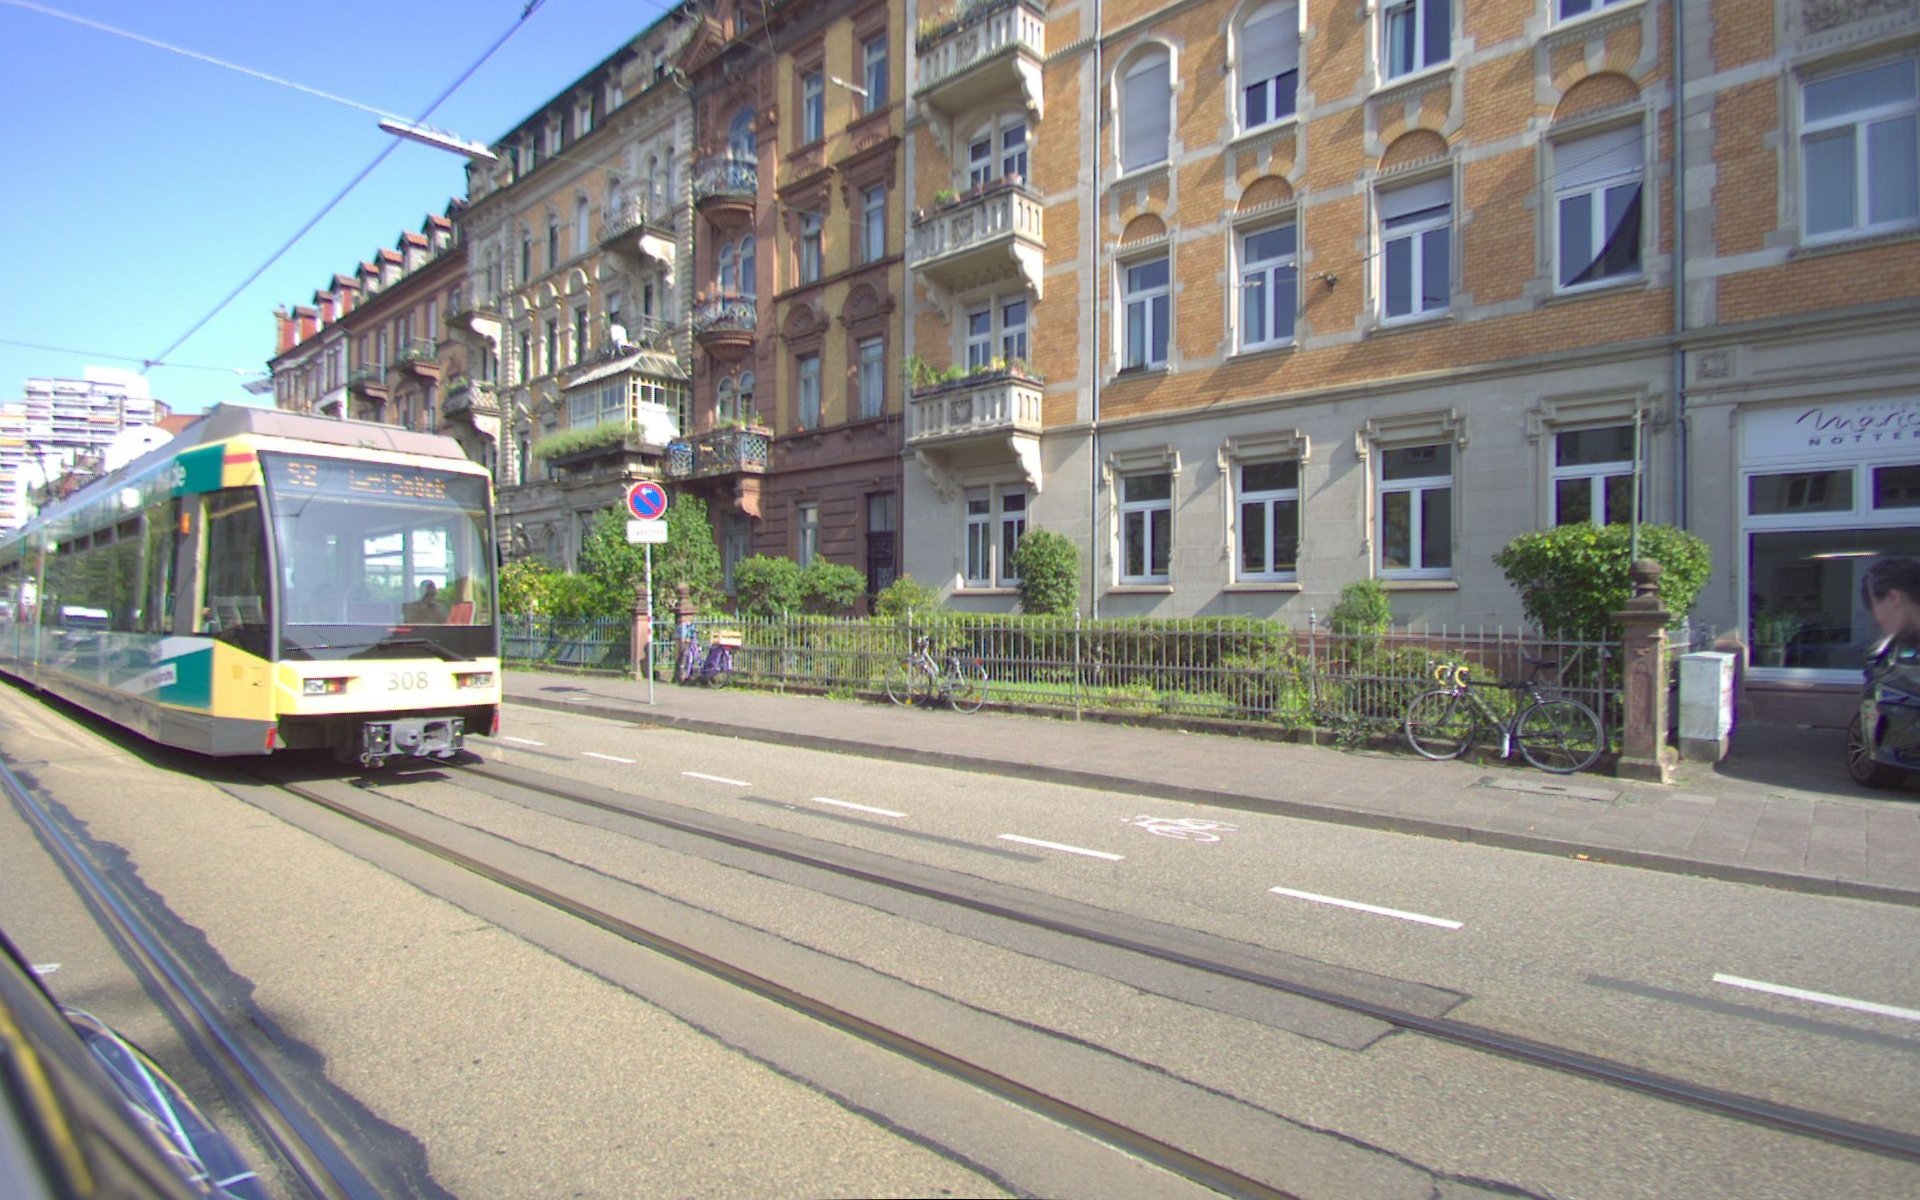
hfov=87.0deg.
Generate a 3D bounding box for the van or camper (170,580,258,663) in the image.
[{"bbox_3d":[-26.238,0.707,35.502,2.025,2.664,6.099,2,-1,-40],"label":"van or camper"}]

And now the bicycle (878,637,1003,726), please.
[{"bbox_3d":[-0.297,1.086,13.925,1.840,1.066,0.539,-1,3,44],"label":"bicycle"}]

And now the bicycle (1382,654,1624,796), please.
[{"bbox_3d":[4.858,1.076,9.151,1.840,1.066,0.539,-1,3,44],"label":"bicycle"}]

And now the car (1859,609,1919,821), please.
[{"bbox_3d":[9.076,0.884,8.651,2.064,1.554,4.093,1,0,42],"label":"car"}]

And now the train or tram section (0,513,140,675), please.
[{"bbox_3d":[-25.946,-0.067,28.059,15.430,3.532,2.705,-1,-1,42],"label":"train or tram section"}]

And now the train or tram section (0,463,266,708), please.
[{"bbox_3d":[-16.283,-0.155,19.247,10.774,3.532,2.705,-1,-1,42],"label":"train or tram section"}]

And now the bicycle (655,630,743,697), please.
[{"bbox_3d":[-4.655,1.092,17.953,1.840,1.066,0.600,-1,3,44],"label":"bicycle"}]

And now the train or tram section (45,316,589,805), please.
[{"bbox_3d":[-8.294,-0.234,11.948,10.774,3.532,2.705,-1,-1,42],"label":"train or tram section"}]
